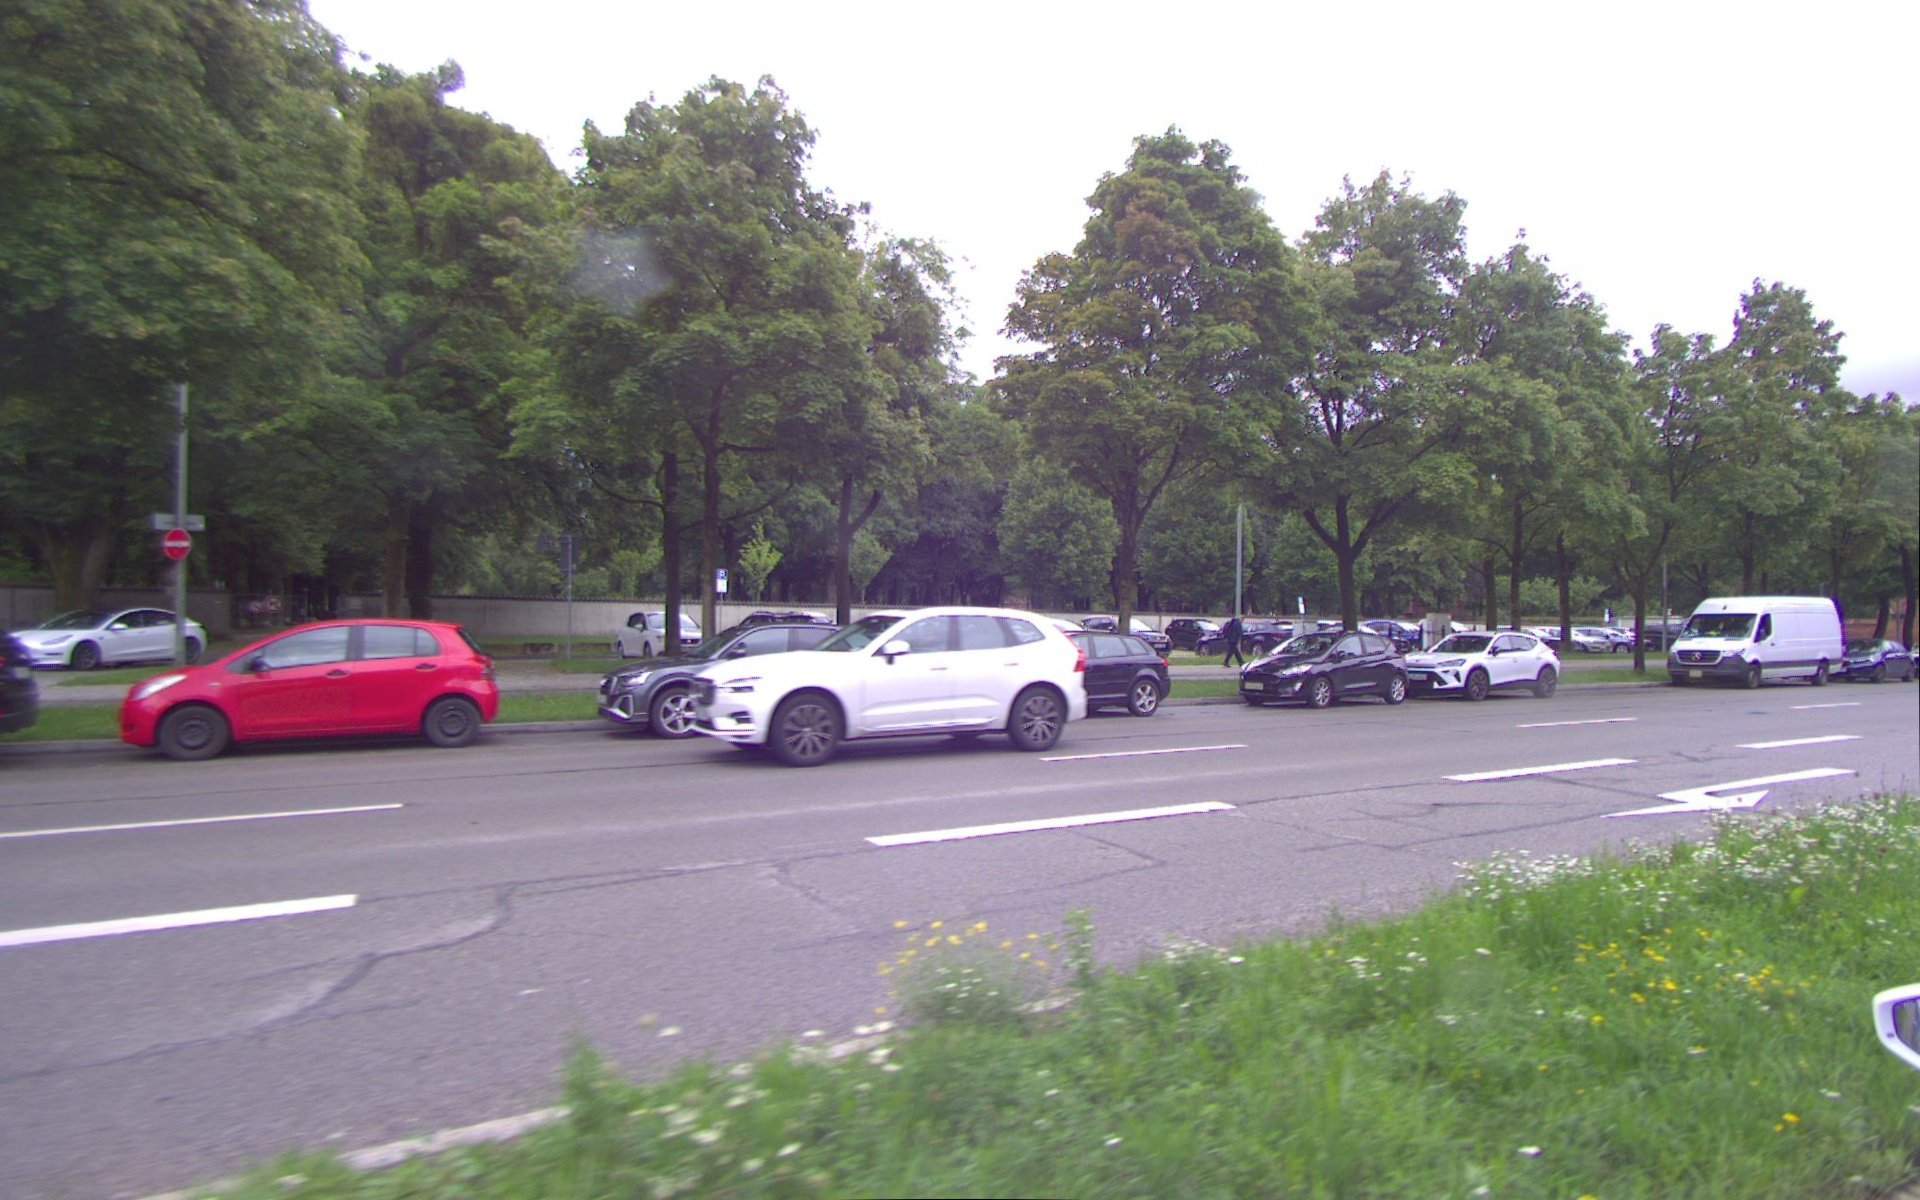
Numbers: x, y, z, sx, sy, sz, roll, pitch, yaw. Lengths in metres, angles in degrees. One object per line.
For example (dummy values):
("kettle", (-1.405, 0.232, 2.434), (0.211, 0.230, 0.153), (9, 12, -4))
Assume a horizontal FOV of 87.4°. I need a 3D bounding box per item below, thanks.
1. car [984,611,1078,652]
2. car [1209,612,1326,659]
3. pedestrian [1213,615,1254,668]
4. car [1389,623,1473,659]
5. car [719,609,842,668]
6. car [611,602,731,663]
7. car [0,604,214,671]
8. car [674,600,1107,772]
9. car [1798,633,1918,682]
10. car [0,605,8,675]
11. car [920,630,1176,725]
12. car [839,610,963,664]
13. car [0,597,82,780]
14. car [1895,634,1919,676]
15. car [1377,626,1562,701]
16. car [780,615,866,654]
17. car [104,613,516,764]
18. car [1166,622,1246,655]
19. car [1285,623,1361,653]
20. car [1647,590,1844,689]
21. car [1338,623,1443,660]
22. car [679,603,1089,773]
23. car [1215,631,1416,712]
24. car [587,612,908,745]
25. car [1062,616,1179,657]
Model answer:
("car", (3.039, 1.361, 44.041), (1.976, 1.647, 4.484), (1, -1, -30))
("car", (10.999, 1.238, 36.173), (1.792, 1.591, 3.971), (1, -1, -28))
("pedestrian", (7.882, 1.188, 28.949), (0.846, 1.515, 0.791), (1, -1, -30))
("car", (29.513, 2.532, 63.060), (1.976, 2.061, 4.484), (1, -1, -30))
("car", (-5.024, 1.007, 27.752), (1.978, 1.461, 4.113), (1, -1, -32))
("car", (-7.683, 0.814, 26.475), (1.979, 1.461, 3.964), (1, -1, -33))
("car", (-20.427, 0.828, 23.813), (1.821, 1.428, 4.472), (1, -1, 6))
("car", (-0.741, 0.900, 11.674), (4.628, 1.641, 2.016), (1, -2, -30))
("car", (30.053, 1.932, 33.593), (4.204, 1.510, 1.848), (3, -1, -31))
("car", (-20.582, 0.779, 18.759), (1.822, 1.428, 3.860), (1, -1, 2))
("car", (1.492, 1.240, 16.824), (3.950, 1.428, 1.815), (1, -3, -28))
("car", (-1.836, 1.071, 30.222), (1.980, 1.461, 3.961), (1, -1, -35))
("car", (-11.161, 0.769, 9.329), (4.192, 1.722, 1.812), (3, -1, -31))
("car", (36.823, 2.084, 37.445), (4.095, 1.510, 1.848), (3, -1, -31))
("car", (11.577, 1.435, 22.764), (4.251, 1.547, 1.812), (3, -3, -31))
("car", (-5.737, 1.385, 41.617), (1.976, 1.461, 4.484), (1, -1, -30))
("car", (-7.423, 0.977, 11.856), (3.767, 1.499, 1.812), (3, -1, -31))
("car", (12.706, 1.976, 52.059), (1.750, 1.617, 3.967), (1, -1, -31))
("car", (20.559, 2.138, 57.036), (1.746, 1.617, 3.976), (1, -1, -24))
("car", (23.381, 1.153, 29.782), (7.021, 2.678, 2.130), (1, -2, -30))
("car", (18.394, 1.764, 43.062), (1.790, 1.457, 3.976), (1, -1, -24))
("car", (-0.815, 0.928, 11.529), (4.350, 1.621, 1.843), (1, -3, -30))
("car", (7.129, 1.369, 20.029), (3.959, 1.466, 1.810), (2, -2, -34))
("car", (-2.956, 1.018, 14.097), (4.062, 1.620, 1.814), (2, -1, -29))
("car", (5.427, 1.210, 34.357), (1.674, 1.275, 3.959), (1, -1, -36))
